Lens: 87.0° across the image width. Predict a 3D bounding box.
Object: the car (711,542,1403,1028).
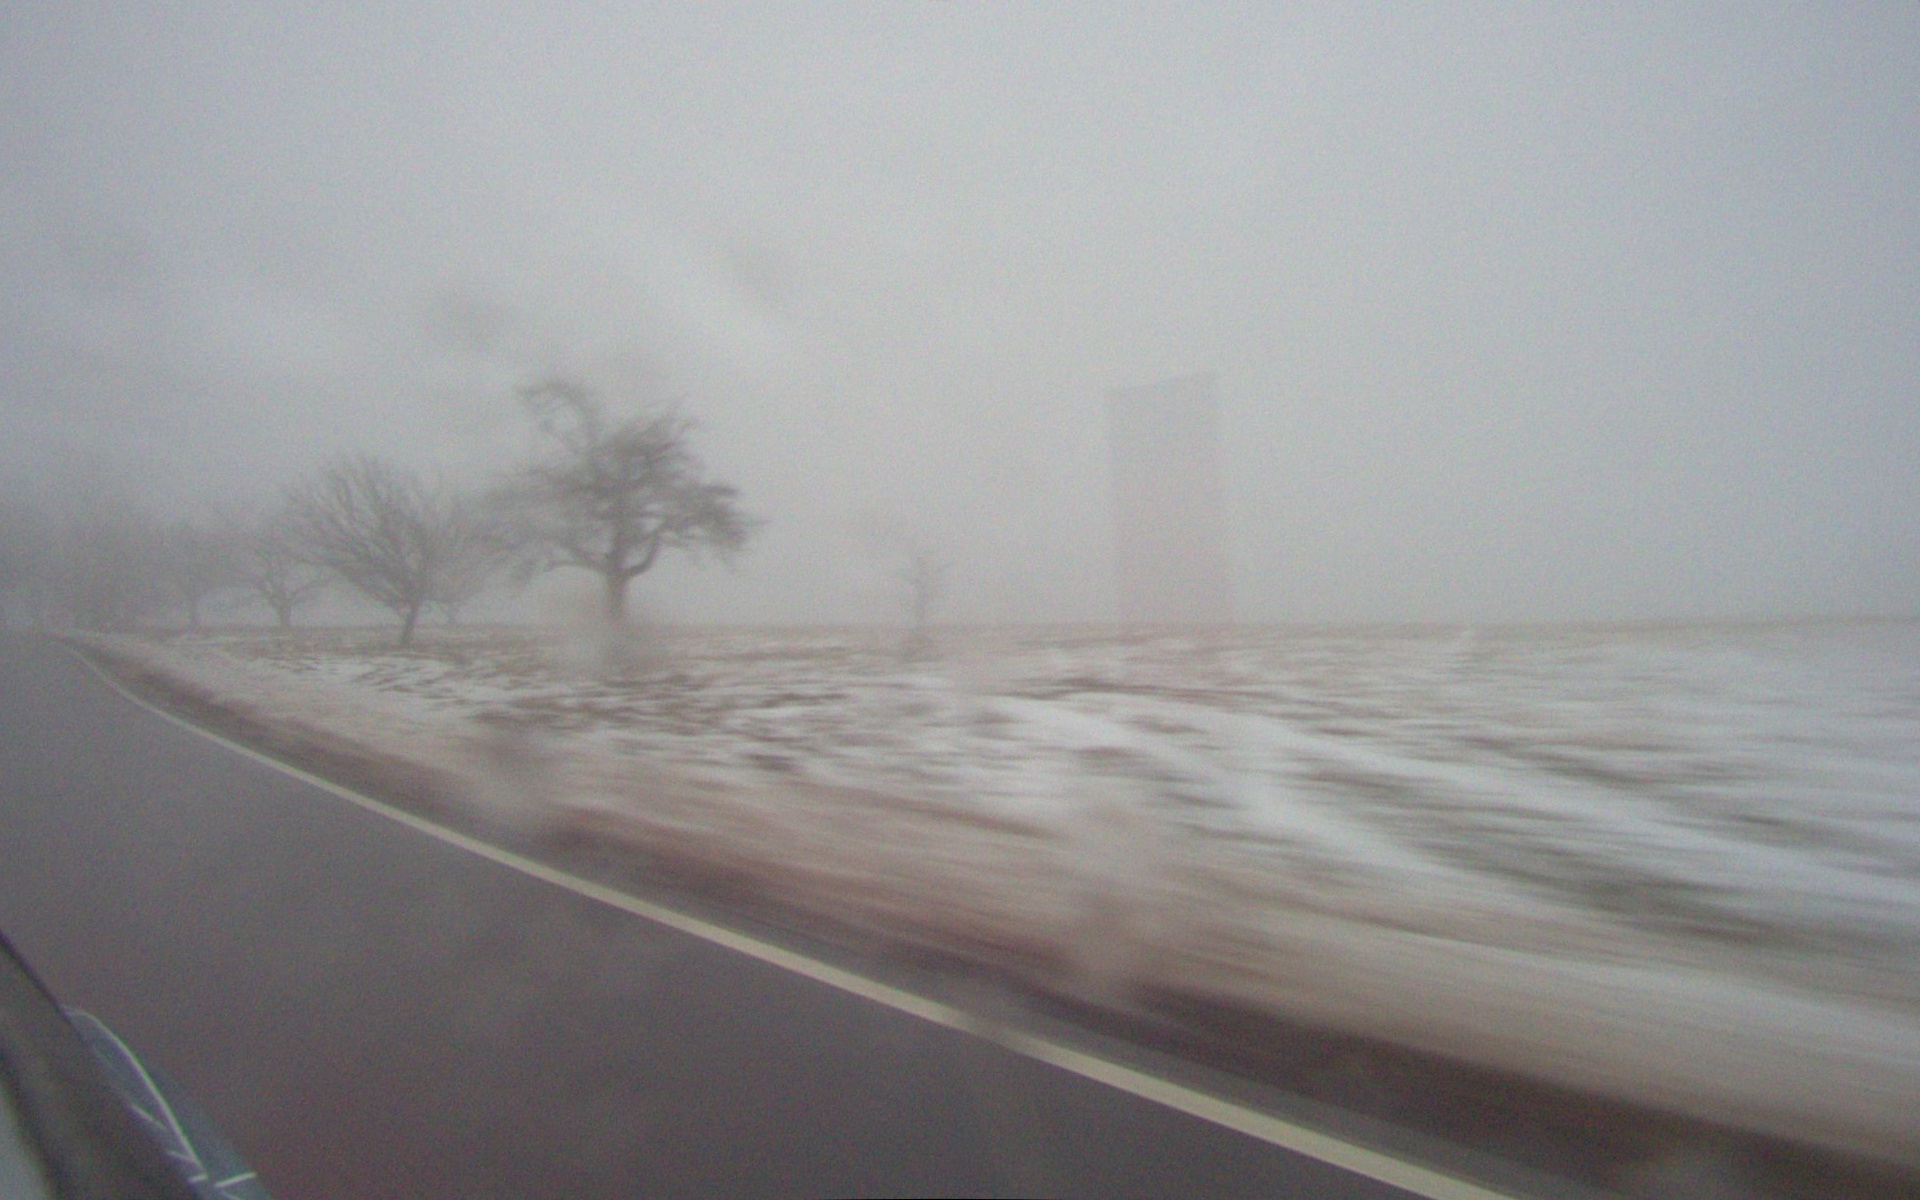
[{"bbox_3d":[0.256,0.572,4.803,1.504,1.519,3.056,0,0,-43],"label":"car"}]
